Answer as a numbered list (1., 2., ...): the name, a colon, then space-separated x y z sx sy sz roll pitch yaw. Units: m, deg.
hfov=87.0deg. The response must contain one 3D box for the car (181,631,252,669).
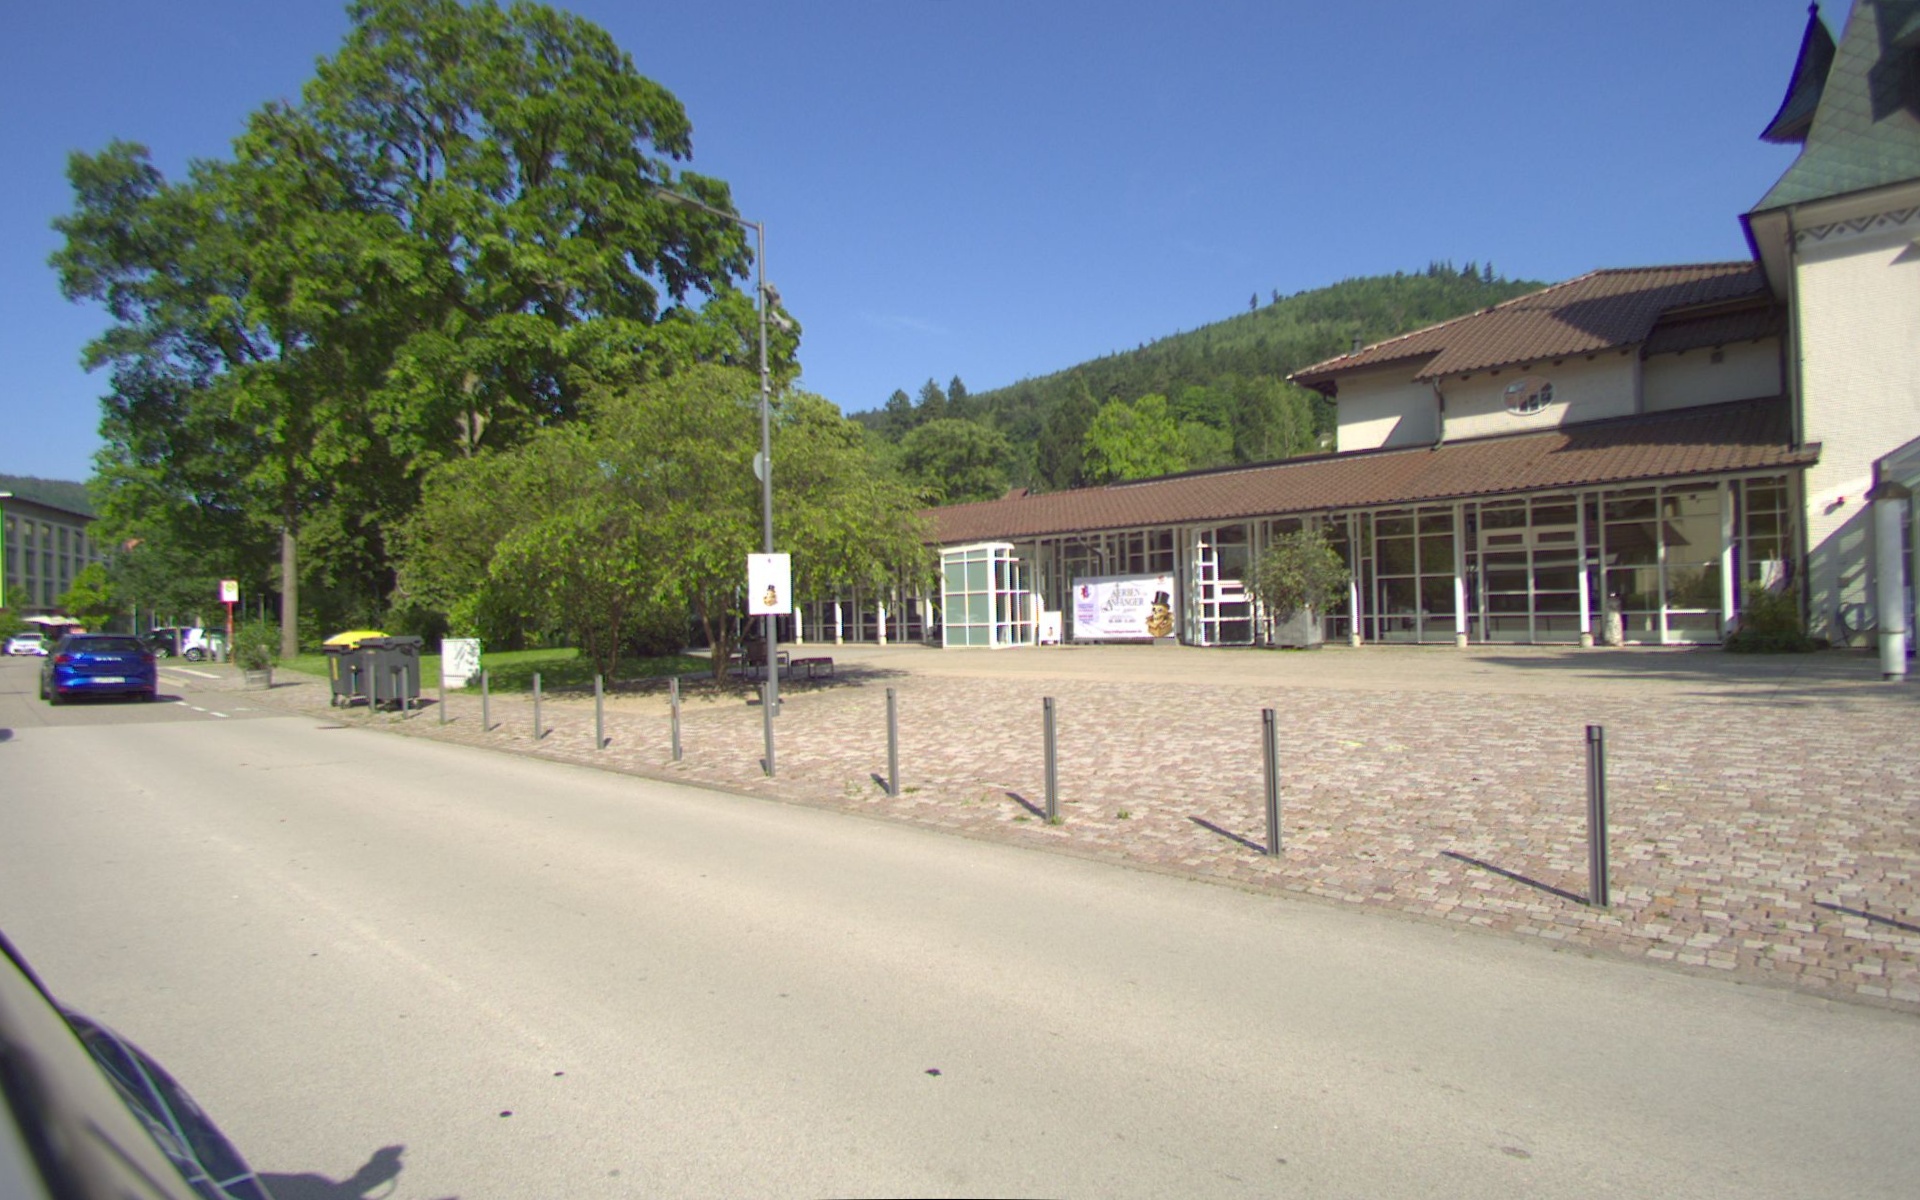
1. car: -34.954 2.315 47.598 2.617 1.558 1.686 -3 0 -37

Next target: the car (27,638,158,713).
1. car: -18.946 1.576 22.044 4.188 1.474 1.722 -2 -3 44

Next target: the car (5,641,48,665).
1. car: -63.286 3.554 68.670 1.628 1.482 4.009 -3 0 -36

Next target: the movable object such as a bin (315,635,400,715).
1. movable object such as a bin: -11.912 1.454 19.992 1.377 1.438 1.067 -3 0 44

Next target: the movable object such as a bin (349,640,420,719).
1. movable object such as a bin: -10.569 1.434 18.582 1.295 1.351 0.746 -3 0 44
